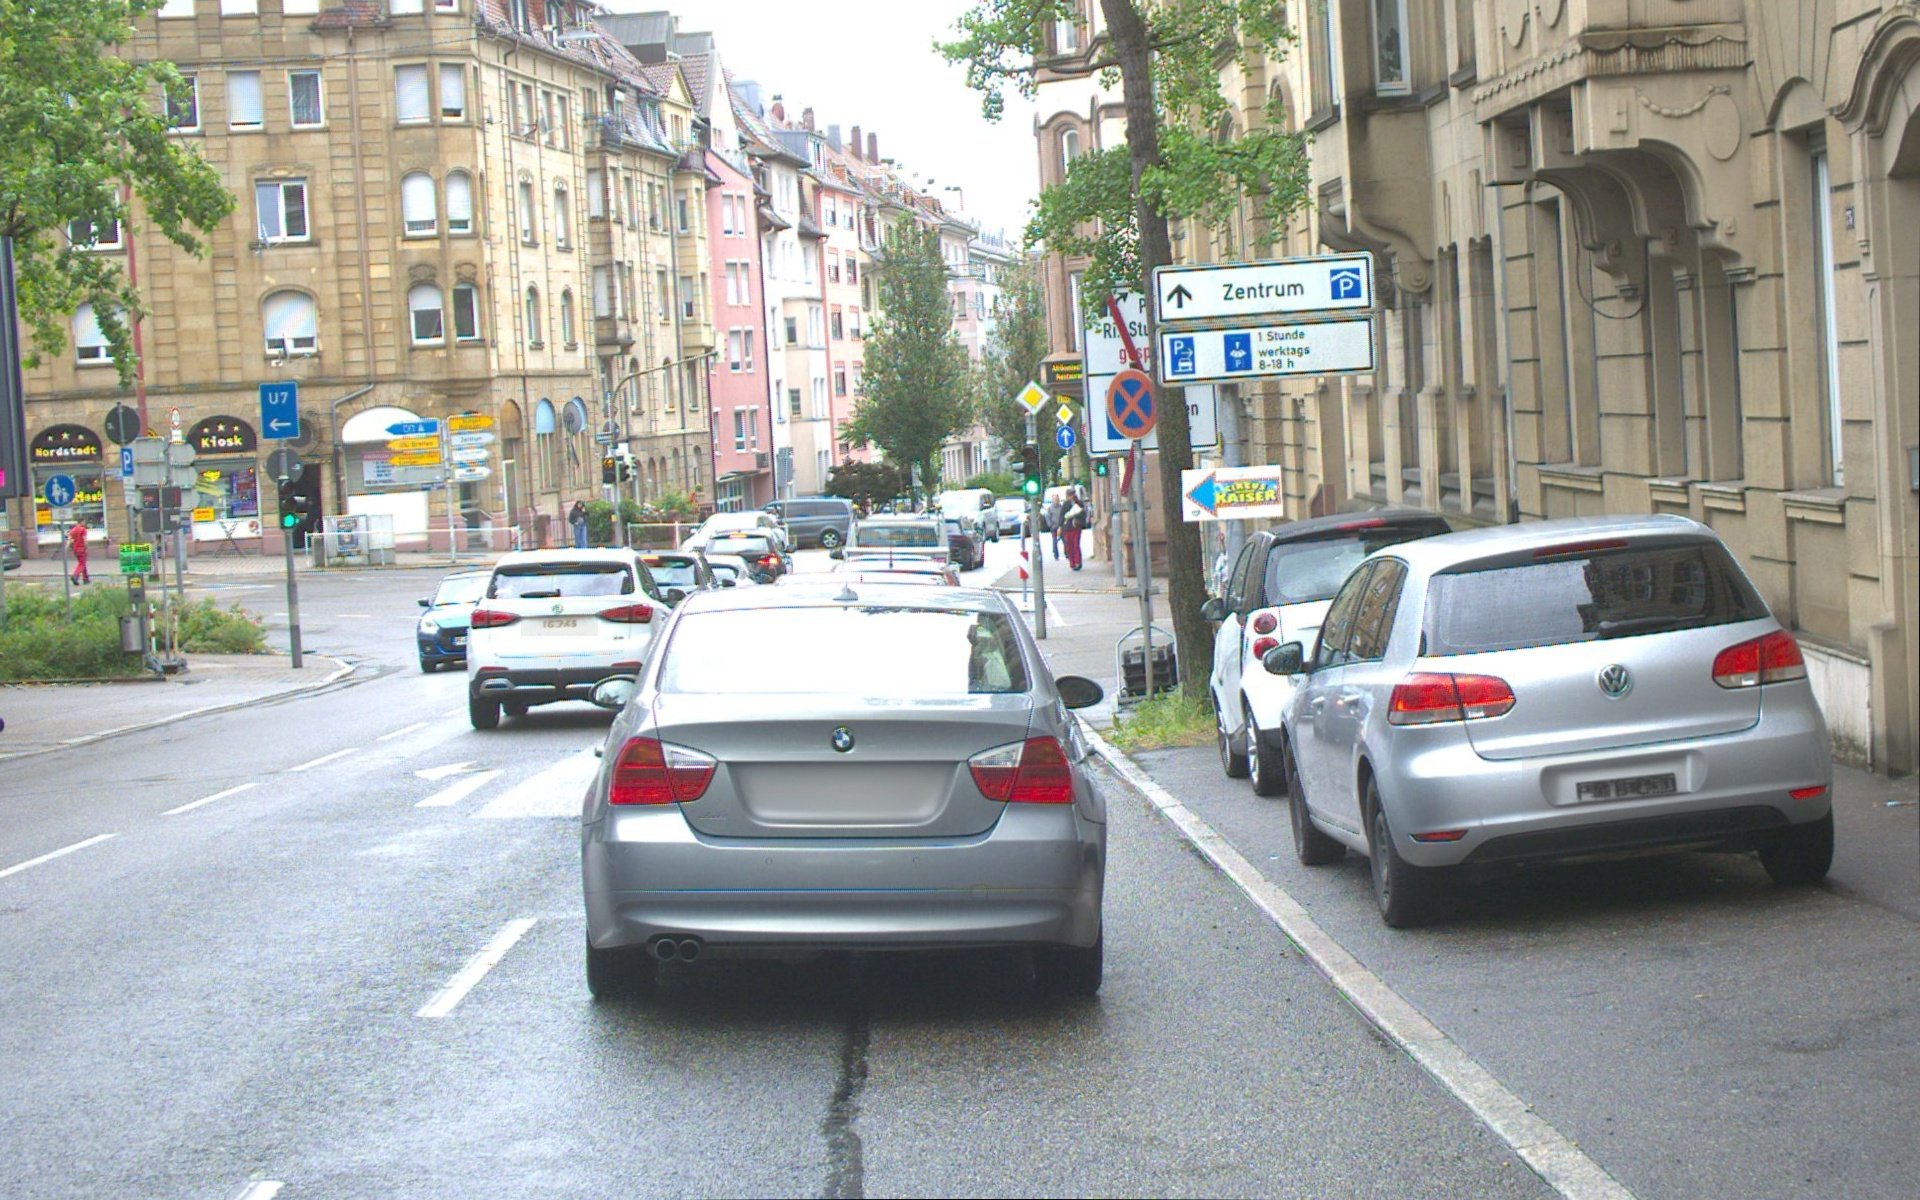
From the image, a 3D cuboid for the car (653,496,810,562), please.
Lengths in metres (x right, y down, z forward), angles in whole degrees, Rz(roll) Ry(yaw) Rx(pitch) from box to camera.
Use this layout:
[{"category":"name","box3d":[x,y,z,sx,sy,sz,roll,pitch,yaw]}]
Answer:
[{"category":"car","box3d":[-5.740,-1.783,86.744,1.997,1.573,3.993,1,0,32]}]

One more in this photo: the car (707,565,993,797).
[{"category":"car","box3d":[-0.665,0.484,23.343,1.759,1.378,4.000,-1,1,1]}]

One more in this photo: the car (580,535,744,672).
[{"category":"car","box3d":[-3.903,0.004,45.528,1.759,1.702,4.000,-1,1,1]}]

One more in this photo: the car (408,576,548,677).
[{"category":"car","box3d":[-7.566,0.389,54.238,1.715,1.445,3.742,-2,1,-1]}]

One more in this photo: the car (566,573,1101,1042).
[{"category":"car","box3d":[-0.372,0.625,12.386,1.623,1.378,3.615,-1,1,1]}]

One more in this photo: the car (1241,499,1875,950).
[{"category":"car","box3d":[2.330,0.417,14.437,1.759,1.446,4.000,-6,1,-1]}]

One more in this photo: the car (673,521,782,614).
[{"category":"car","box3d":[-4.456,-0.644,66.285,1.759,1.702,4.000,-1,1,1]}]

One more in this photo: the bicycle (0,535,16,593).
[{"category":"bicycle","box3d":[-22.577,-0.784,78.763,0.672,1.315,2.274,-3,1,15]}]

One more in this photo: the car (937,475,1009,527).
[{"category":"car","box3d":[0.443,-3.223,112.203,1.994,1.573,3.999,1,0,5]}]

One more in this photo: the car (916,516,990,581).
[{"category":"car","box3d":[-0.160,-1.252,85.206,1.725,1.547,4.000,1,0,1]}]

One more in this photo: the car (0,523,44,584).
[{"category":"car","box3d":[-26.610,-1.239,90.130,4.639,1.573,2.000,1,0,2]}]

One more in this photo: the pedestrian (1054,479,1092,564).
[{"category":"pedestrian","box3d":[2.551,-1.772,77.701,0.742,1.903,0.659,-2,1,-1]}]

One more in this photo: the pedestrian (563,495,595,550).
[{"category":"pedestrian","box3d":[-10.960,-2.232,98.904,0.732,1.572,0.528,-2,1,8]}]

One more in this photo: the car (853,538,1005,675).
[{"category":"car","box3d":[-0.415,0.043,42.424,1.759,1.562,4.001,-1,1,-1]}]

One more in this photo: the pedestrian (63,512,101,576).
[{"category":"pedestrian","box3d":[-21.771,-1.386,85.245,0.537,1.572,0.719,-2,1,24]}]

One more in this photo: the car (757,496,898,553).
[{"category":"car","box3d":[-4.922,-2.799,128.364,5.176,2.007,2.699,1,0,-1]}]

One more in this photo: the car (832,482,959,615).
[{"category":"car","box3d":[-1.051,-0.834,56.661,1.993,2.099,4.000,0,1,-1]}]

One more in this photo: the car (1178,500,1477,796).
[{"category":"car","box3d":[2.173,0.246,20.917,1.299,1.538,2.976,-6,1,-1]}]

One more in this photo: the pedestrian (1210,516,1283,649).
[{"category":"pedestrian","box3d":[3.373,-0.209,40.480,0.631,1.503,0.693,-6,1,-1]}]

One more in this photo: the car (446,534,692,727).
[{"category":"car","box3d":[-3.648,0.231,32.716,1.868,1.620,4.000,-3,1,-1]}]

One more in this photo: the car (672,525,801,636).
[{"category":"car","box3d":[-3.573,-0.337,55.465,1.759,1.702,4.000,-1,1,1]}]

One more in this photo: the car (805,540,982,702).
[{"category":"car","box3d":[-0.590,0.155,33.300,1.595,1.459,4.000,0,1,1]}]
